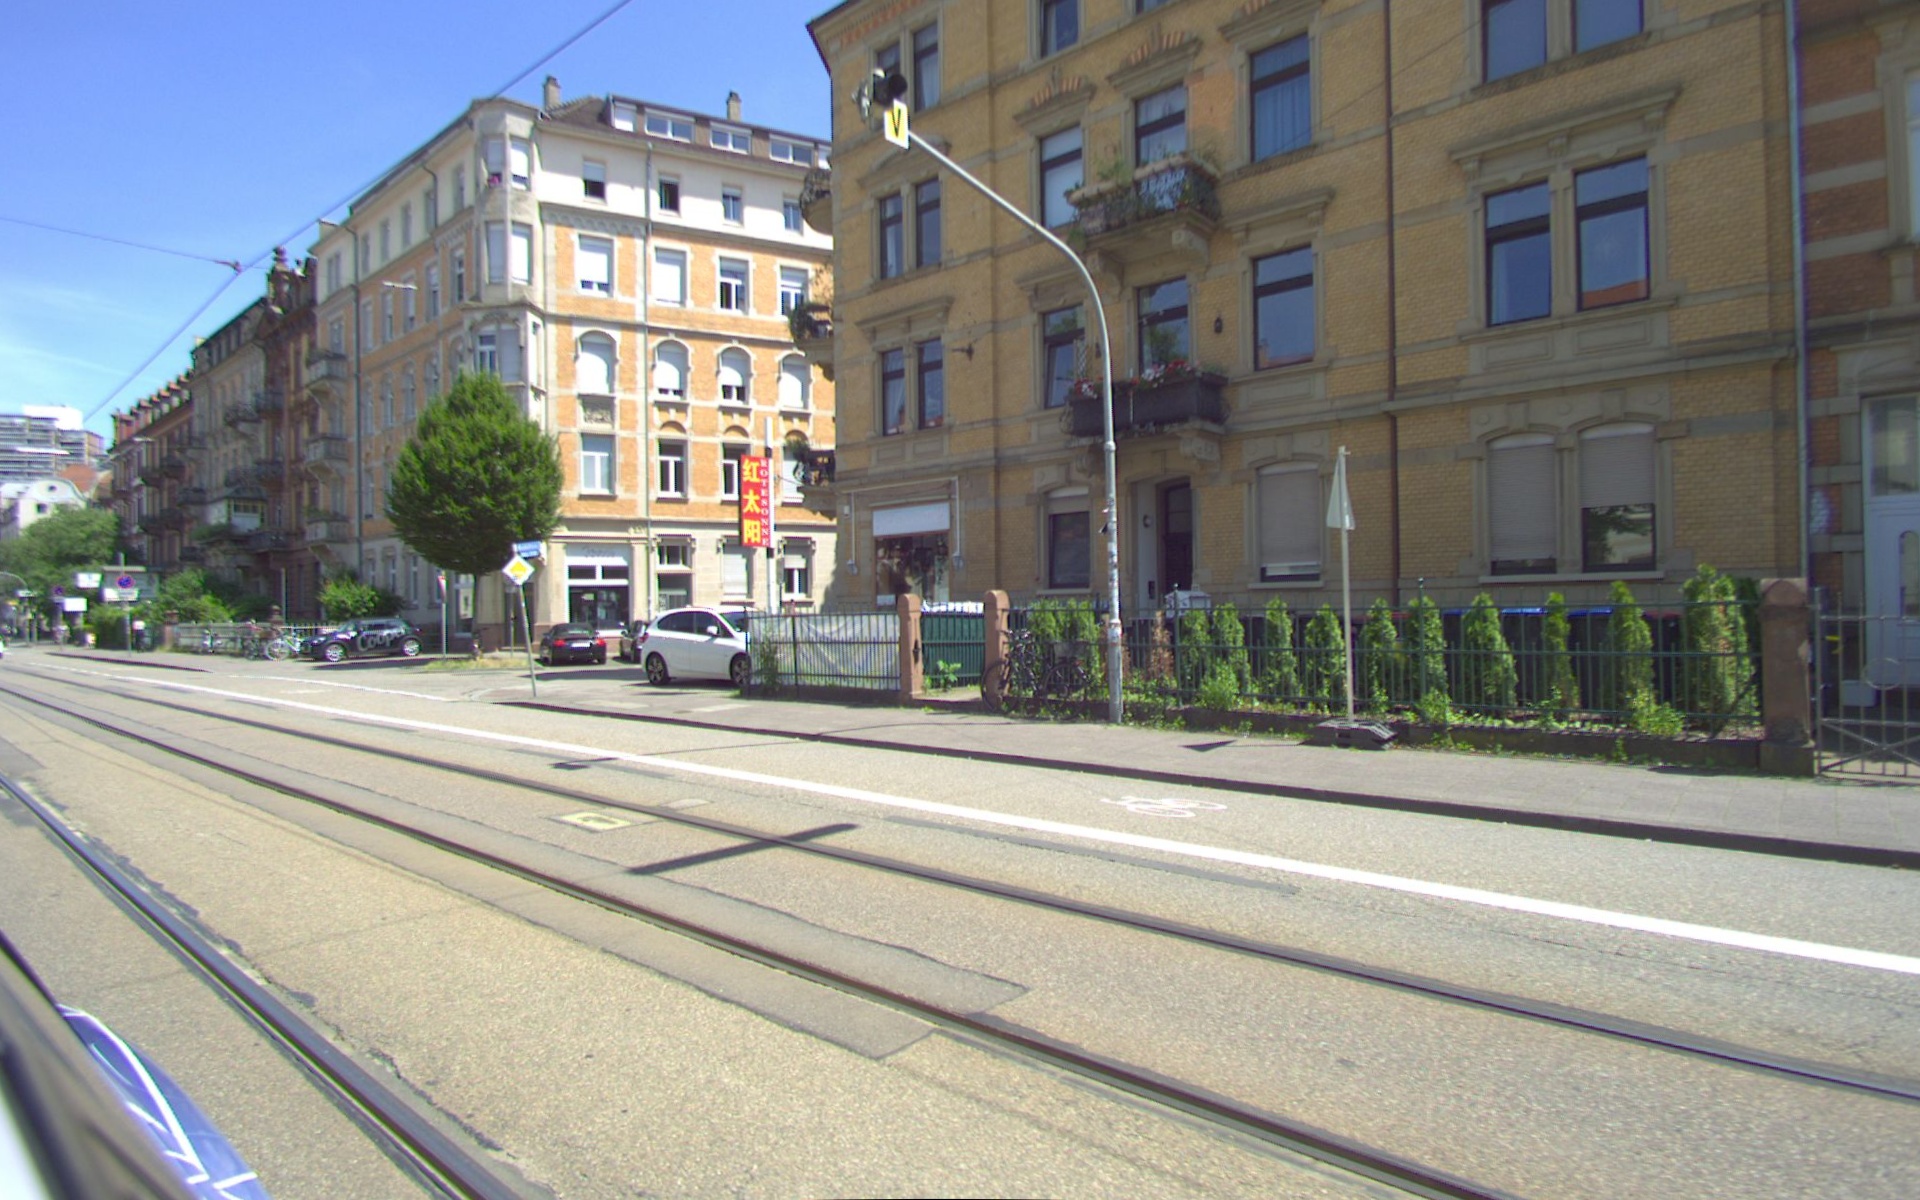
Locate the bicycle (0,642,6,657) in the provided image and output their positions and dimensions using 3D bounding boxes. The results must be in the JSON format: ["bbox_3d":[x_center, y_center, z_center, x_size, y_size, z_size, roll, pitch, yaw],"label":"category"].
[{"bbox_3d":[-71.648,3.681,75.416,1.874,1.086,0.622,-2,-3,41],"label":"bicycle"}]

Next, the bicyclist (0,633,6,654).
[{"bbox_3d":[-71.612,3.228,75.408,1.028,1.597,0.627,-2,-3,41],"label":"bicyclist"}]

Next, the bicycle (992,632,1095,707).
[{"bbox_3d":[1.240,0.991,14.828,0.474,1.011,1.760,-2,-2,45],"label":"bicycle"}]

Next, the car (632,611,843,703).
[{"bbox_3d":[-4.467,1.076,20.082,4.094,1.612,1.849,-2,-1,36],"label":"car"}]

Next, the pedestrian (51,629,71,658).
[{"bbox_3d":[-53.700,2.599,60.474,0.861,1.713,1.014,1,-2,-43],"label":"pedestrian"}]

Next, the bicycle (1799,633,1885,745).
[{"bbox_3d":[8.981,0.864,10.348,0.454,1.011,1.785,-2,-2,35],"label":"bicycle"}]

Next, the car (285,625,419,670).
[{"bbox_3d":[-21.373,1.641,35.643,1.713,1.439,3.720,-1,-1,41],"label":"car"}]

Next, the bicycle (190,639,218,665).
[{"bbox_3d":[-30.671,2.113,41.050,1.709,0.994,0.491,-2,2,40],"label":"bicycle"}]

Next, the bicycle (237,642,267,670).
[{"bbox_3d":[-25.352,1.993,36.222,1.709,0.991,0.434,-2,-2,40],"label":"bicycle"}]

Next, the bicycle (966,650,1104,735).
[{"bbox_3d":[0.937,1.159,12.995,1.804,1.011,0.449,-2,-2,38],"label":"bicycle"}]

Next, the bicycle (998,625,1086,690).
[{"bbox_3d":[1.374,0.928,16.752,0.474,1.011,1.686,-2,-2,44],"label":"bicycle"}]

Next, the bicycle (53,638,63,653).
[{"bbox_3d":[-66.528,3.374,74.641,1.565,1.064,0.454,-2,-2,45],"label":"bicycle"}]

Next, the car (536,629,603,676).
[{"bbox_3d":[-13.003,1.705,33.570,1.603,1.349,3.784,1,0,-28],"label":"car"}]

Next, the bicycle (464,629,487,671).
[{"bbox_3d":[-15.383,1.583,32.161,0.493,1.237,1.856,1,0,-21],"label":"bicycle"}]

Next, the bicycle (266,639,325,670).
[{"bbox_3d":[-23.687,1.925,36.073,1.685,1.045,0.551,1,-2,-45],"label":"bicycle"}]

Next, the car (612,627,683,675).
[{"bbox_3d":[-10.813,1.706,34.842,1.603,1.450,3.784,1,0,-28],"label":"car"}]

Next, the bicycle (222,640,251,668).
[{"bbox_3d":[-26.873,1.992,37.584,1.709,0.991,0.434,-2,-2,40],"label":"bicycle"}]

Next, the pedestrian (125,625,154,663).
[{"bbox_3d":[-38.949,2.088,48.033,1.138,1.736,0.842,-2,0,42],"label":"pedestrian"}]
